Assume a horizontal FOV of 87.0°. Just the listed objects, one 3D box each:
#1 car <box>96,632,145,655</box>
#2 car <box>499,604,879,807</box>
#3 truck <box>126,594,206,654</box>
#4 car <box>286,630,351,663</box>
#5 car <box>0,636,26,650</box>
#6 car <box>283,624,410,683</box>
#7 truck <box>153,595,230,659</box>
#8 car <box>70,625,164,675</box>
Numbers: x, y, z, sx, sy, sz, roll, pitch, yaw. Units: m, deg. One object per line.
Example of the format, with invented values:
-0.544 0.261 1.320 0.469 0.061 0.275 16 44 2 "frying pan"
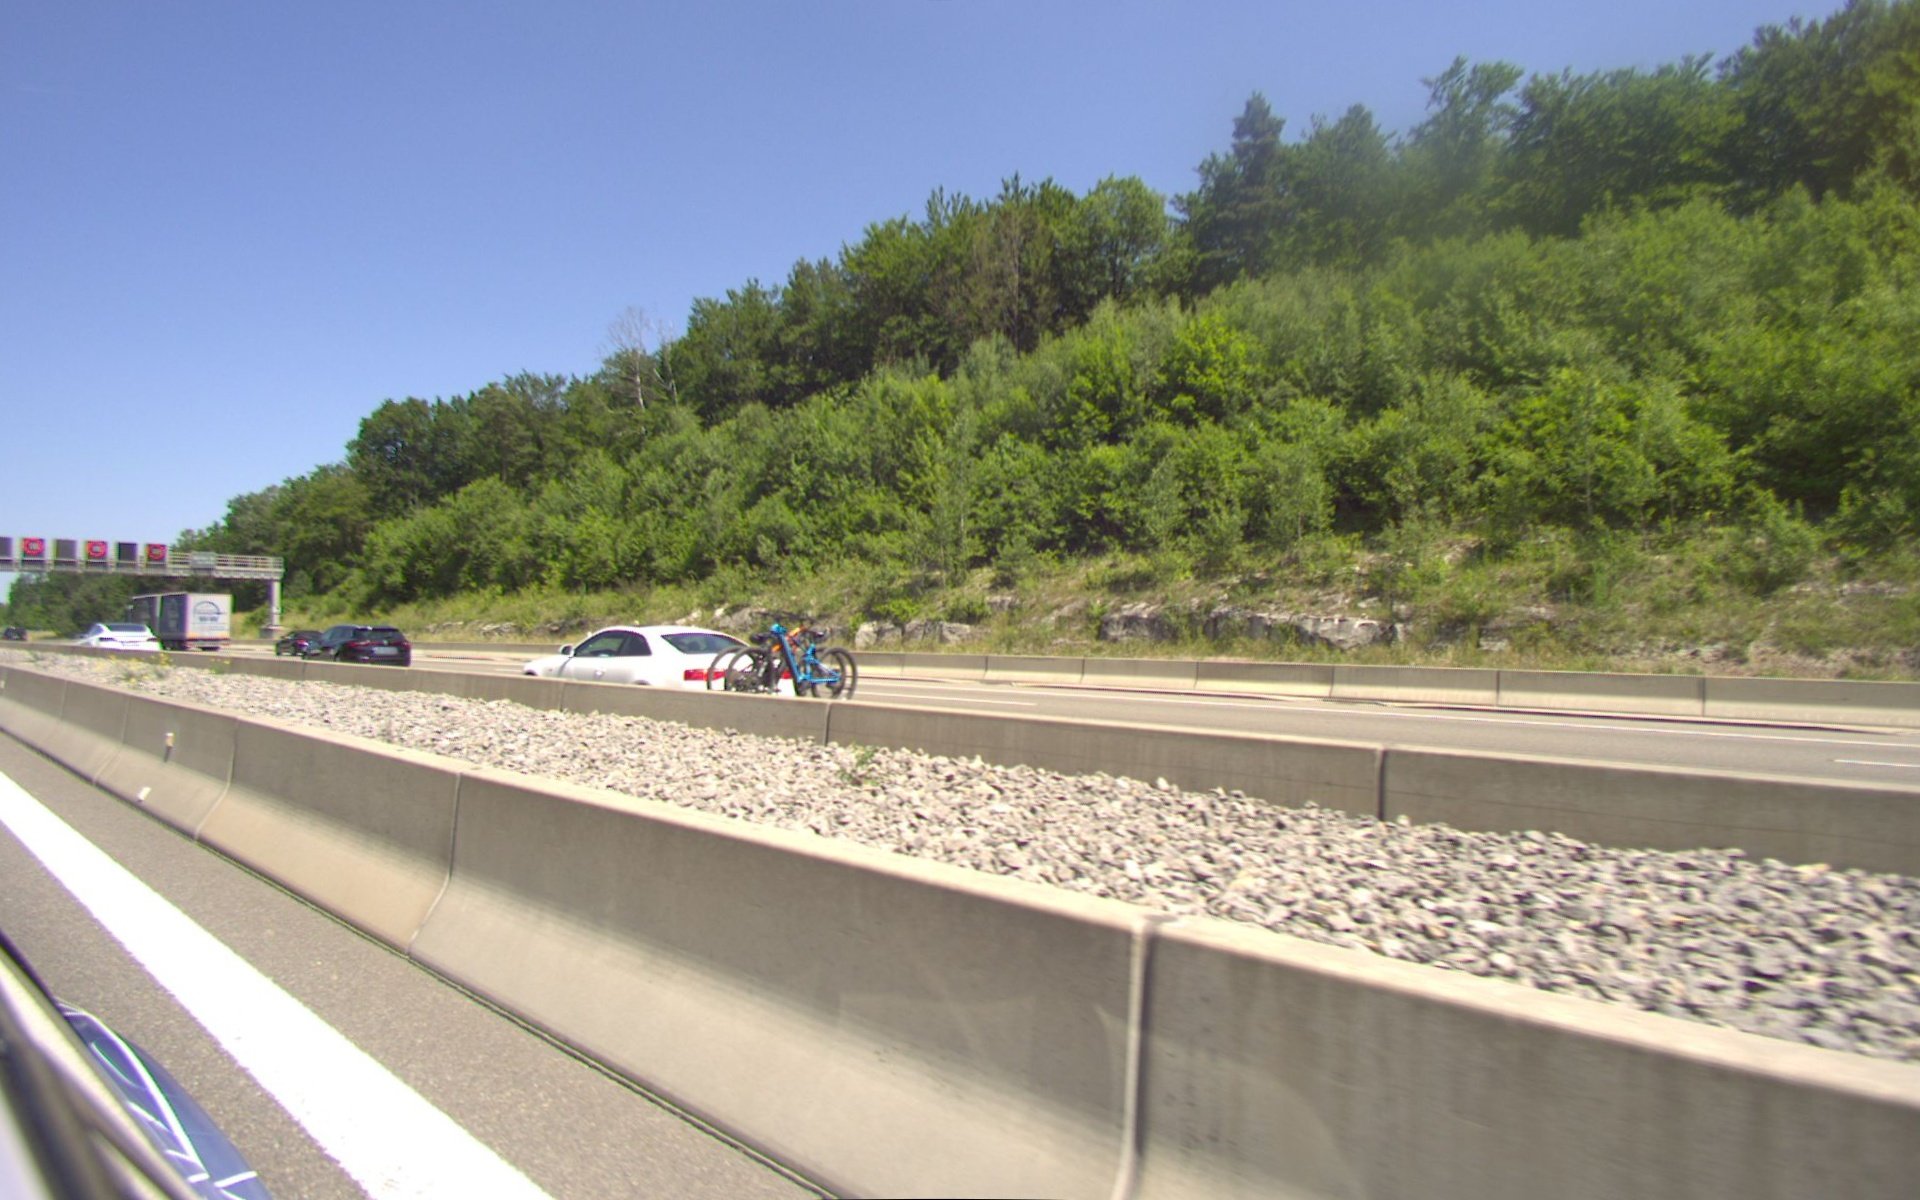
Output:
-52.696 2.699 63.504 3.869 1.393 1.721 -1 -2 41 "car"
-3.626 1.123 12.844 5.399 2.068 1.973 -1 -2 41 "car"
-59.924 1.826 76.279 9.858 4.261 2.882 -1 -2 41 "truck"
-34.407 2.454 54.211 4.158 1.667 1.885 -1 -2 42 "car"
-99.085 4.464 105.747 3.869 1.393 1.721 -1 -2 41 "car"
-18.226 1.529 29.976 4.906 1.524 1.885 -1 0 42 "car"
-54.152 1.881 71.263 8.409 4.261 2.632 -1 -2 41 "truck"
-28.828 1.646 34.572 4.158 1.524 1.885 -1 0 42 "car"
